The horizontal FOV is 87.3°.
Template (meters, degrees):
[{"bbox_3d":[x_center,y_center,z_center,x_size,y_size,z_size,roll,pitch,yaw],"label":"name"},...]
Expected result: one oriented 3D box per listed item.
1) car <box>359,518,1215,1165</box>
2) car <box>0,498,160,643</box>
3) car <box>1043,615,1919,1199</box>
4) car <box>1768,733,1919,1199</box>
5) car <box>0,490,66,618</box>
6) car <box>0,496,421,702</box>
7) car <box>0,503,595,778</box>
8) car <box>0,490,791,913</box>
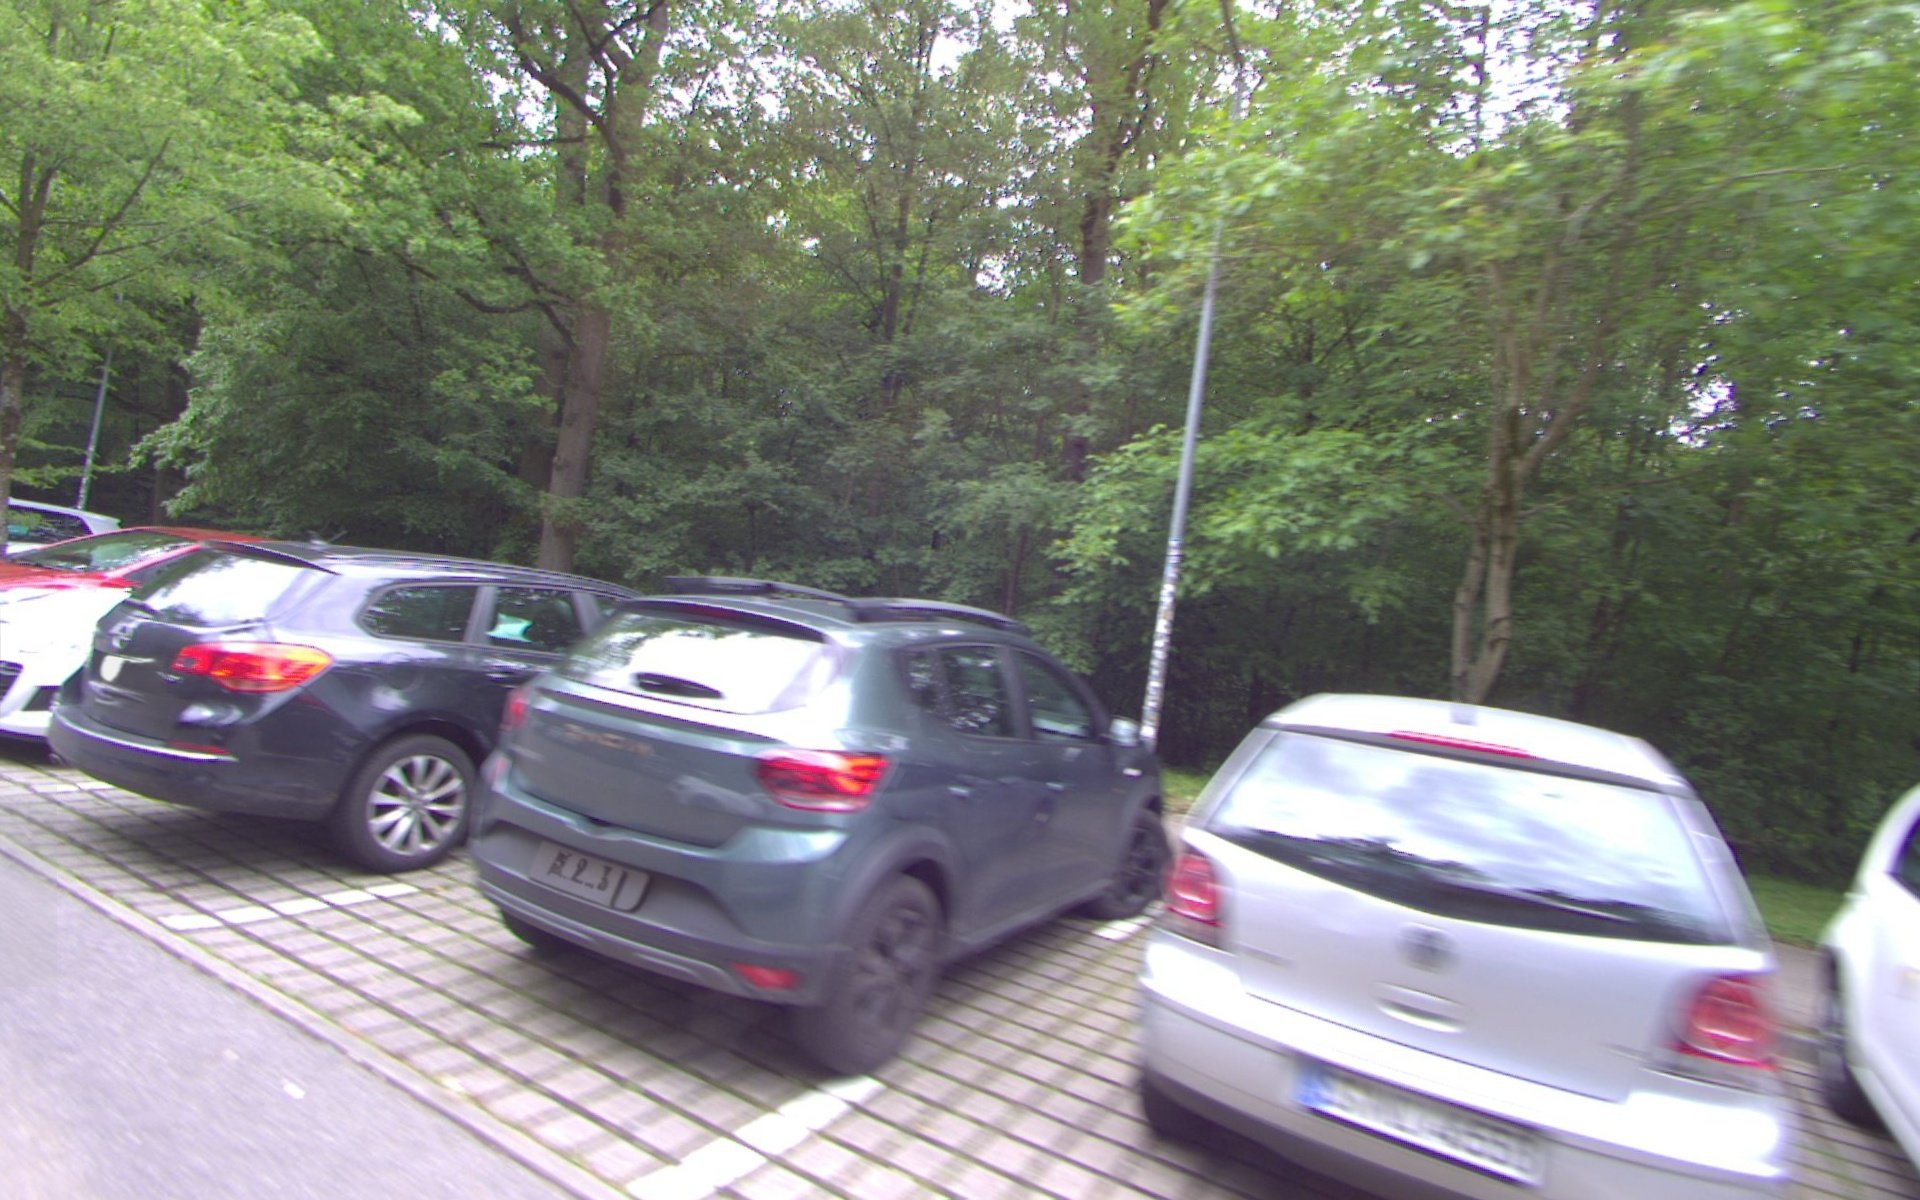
[{"bbox_3d":[-0.341,0.796,4.823,1.916,1.608,3.777,8,-2,30],"label":"car"},{"bbox_3d":[-11.534,-0.502,10.878,1.850,1.501,3.991,8,-2,23],"label":"car"},{"bbox_3d":[1.976,1.087,4.058,1.700,1.563,3.852,7,-2,29],"label":"car"},{"bbox_3d":[3.714,1.291,2.734,1.722,1.528,3.709,7,-2,31],"label":"car"},{"bbox_3d":[-13.726,-0.843,12.018,1.943,1.577,4.020,8,-2,27],"label":"car"},{"bbox_3d":[-7.235,0.012,9.078,1.836,1.457,3.810,8,-2,19],"label":"car"},{"bbox_3d":[-4.990,0.312,7.476,1.845,1.427,3.944,8,-2,28],"label":"car"},{"bbox_3d":[-2.898,0.517,5.929,1.742,1.498,3.780,8,-2,26],"label":"car"}]
